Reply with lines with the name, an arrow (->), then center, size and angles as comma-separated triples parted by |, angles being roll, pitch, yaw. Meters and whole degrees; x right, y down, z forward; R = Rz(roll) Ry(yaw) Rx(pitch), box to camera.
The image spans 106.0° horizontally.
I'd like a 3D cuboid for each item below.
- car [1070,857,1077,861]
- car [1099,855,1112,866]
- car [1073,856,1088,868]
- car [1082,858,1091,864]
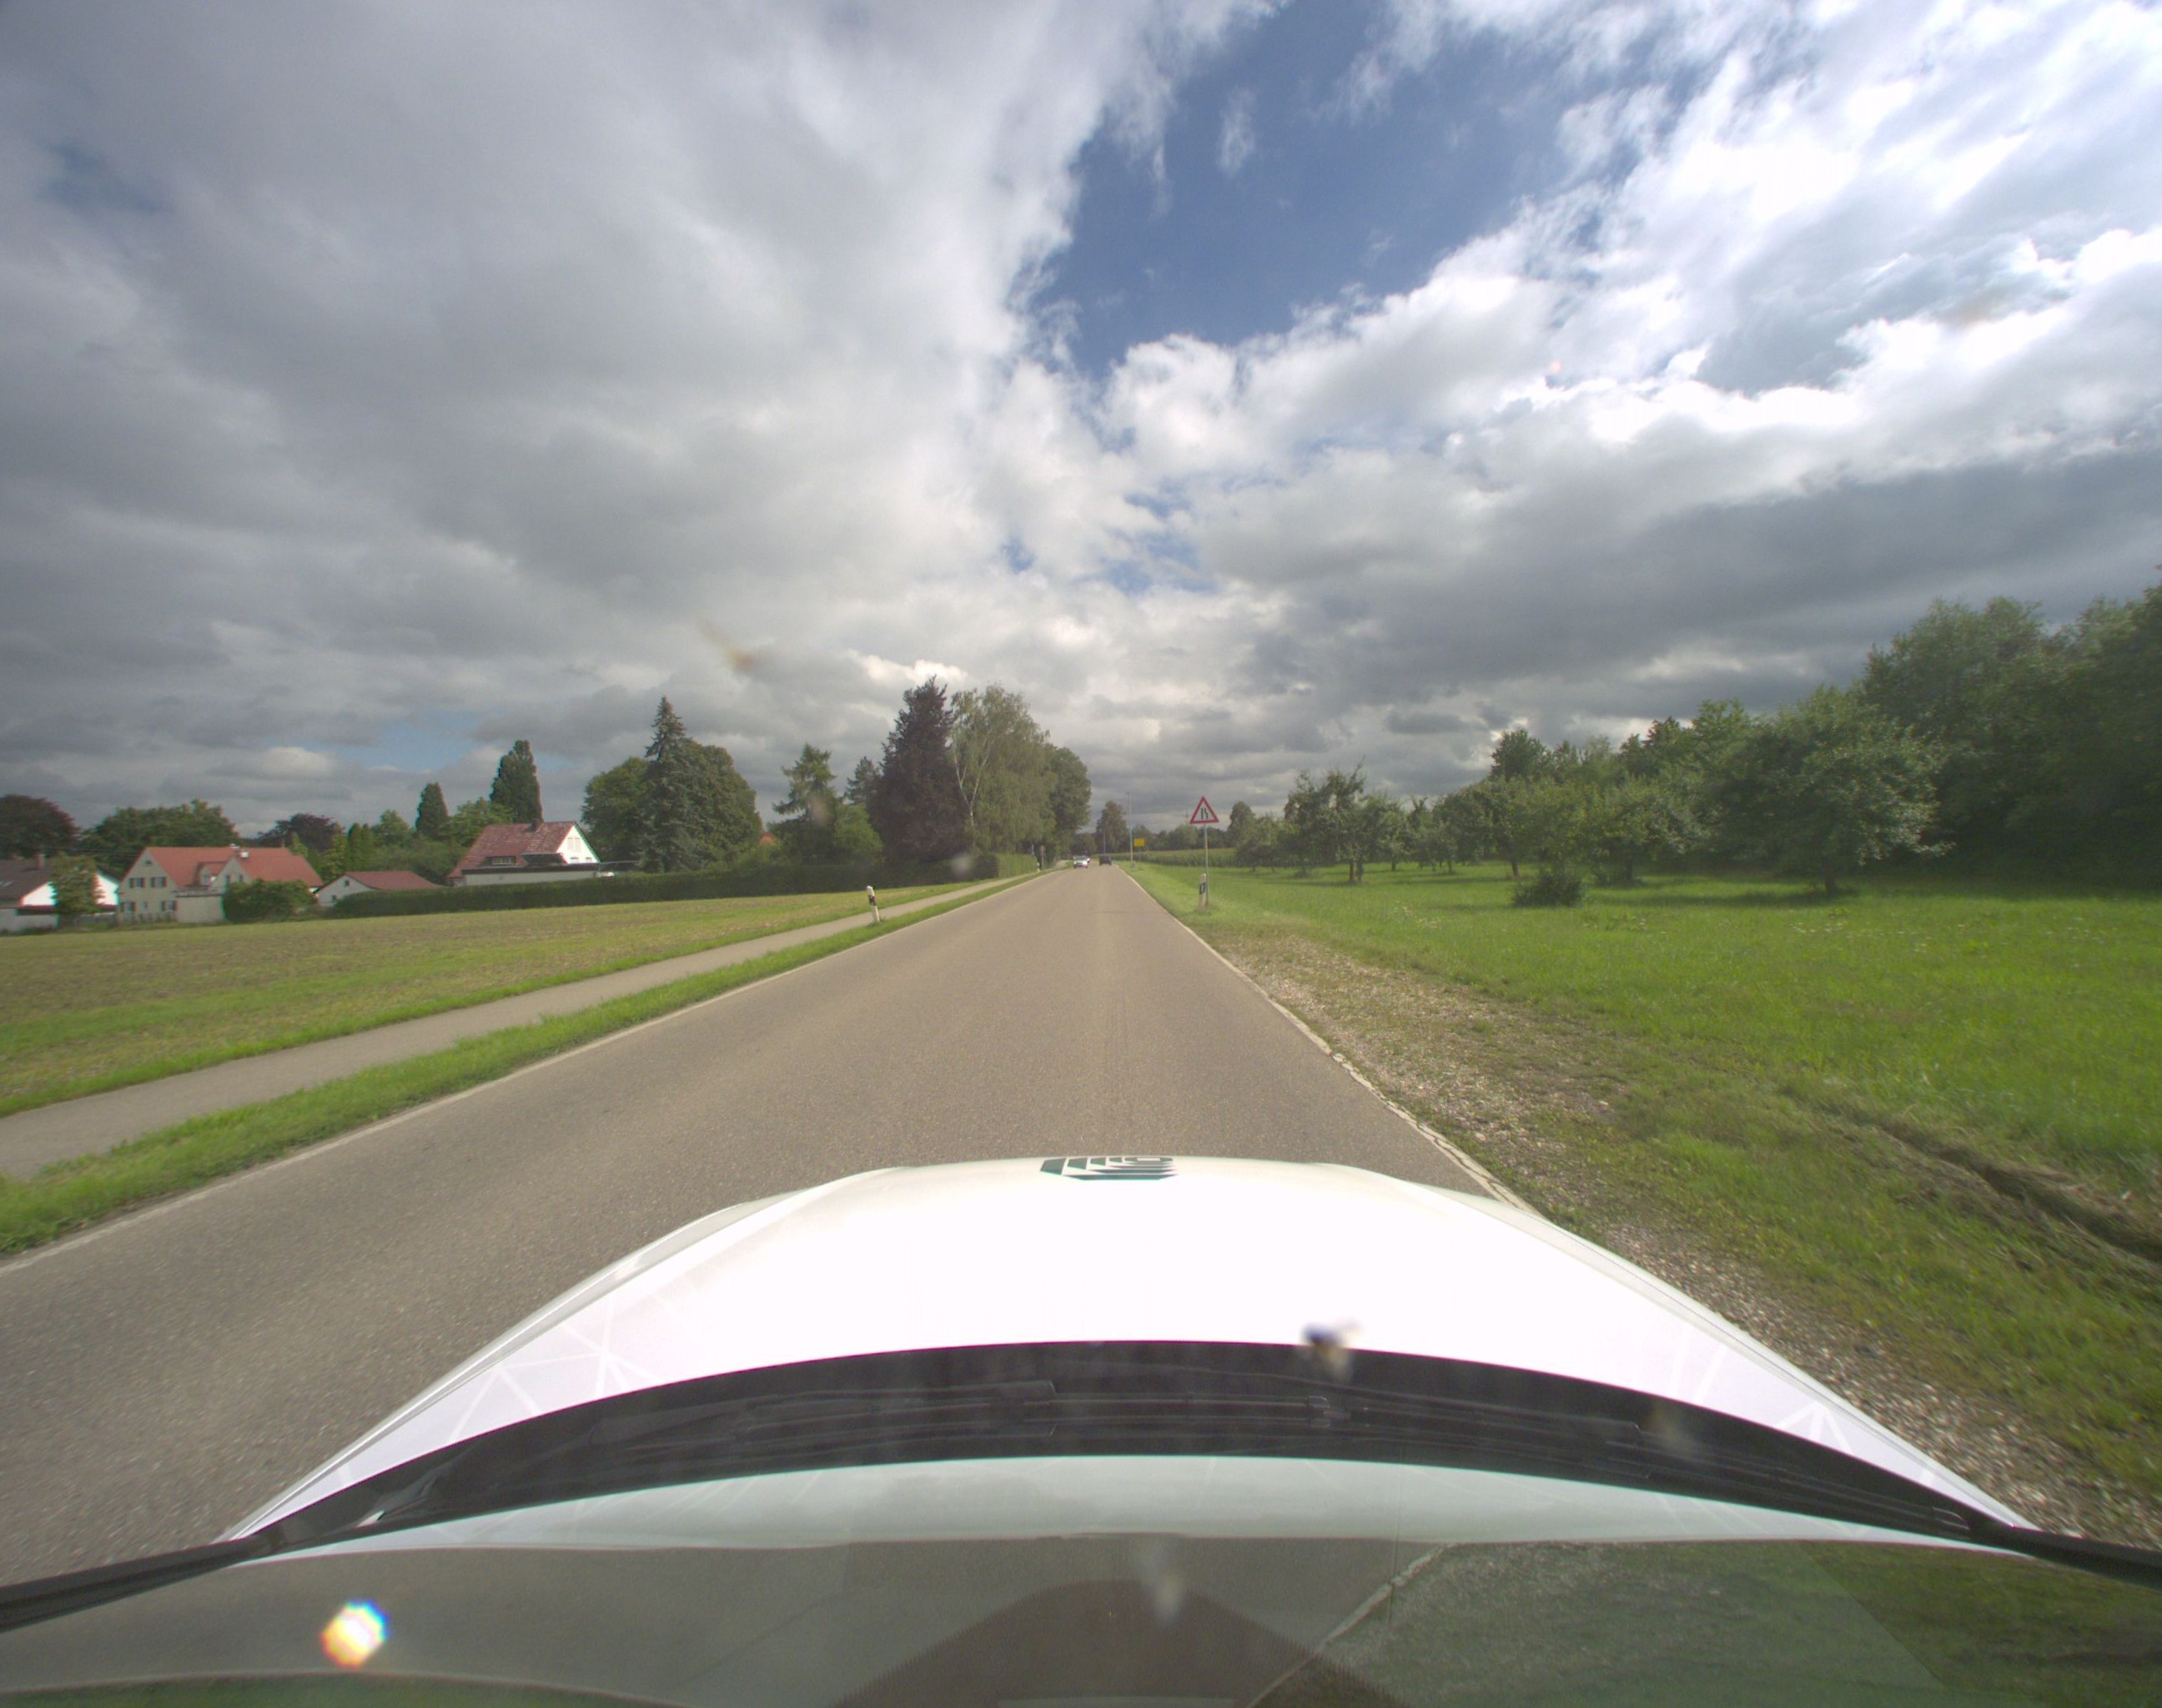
car -> -2.243, 1.442, 238.186 | 1.739, 1.222, 3.544 | -3, 0, 2
car -> 3.853, 1.004, 126.648 | 1.900, 1.666, 4.000 | -3, 0, 1
car -> -0.056, 0.965, 99.753 | 1.688, 1.459, 3.544 | -2, 0, 2
car -> 1.195, 1.531, 181.722 | 1.739, 1.222, 3.544 | -3, -1, 2
